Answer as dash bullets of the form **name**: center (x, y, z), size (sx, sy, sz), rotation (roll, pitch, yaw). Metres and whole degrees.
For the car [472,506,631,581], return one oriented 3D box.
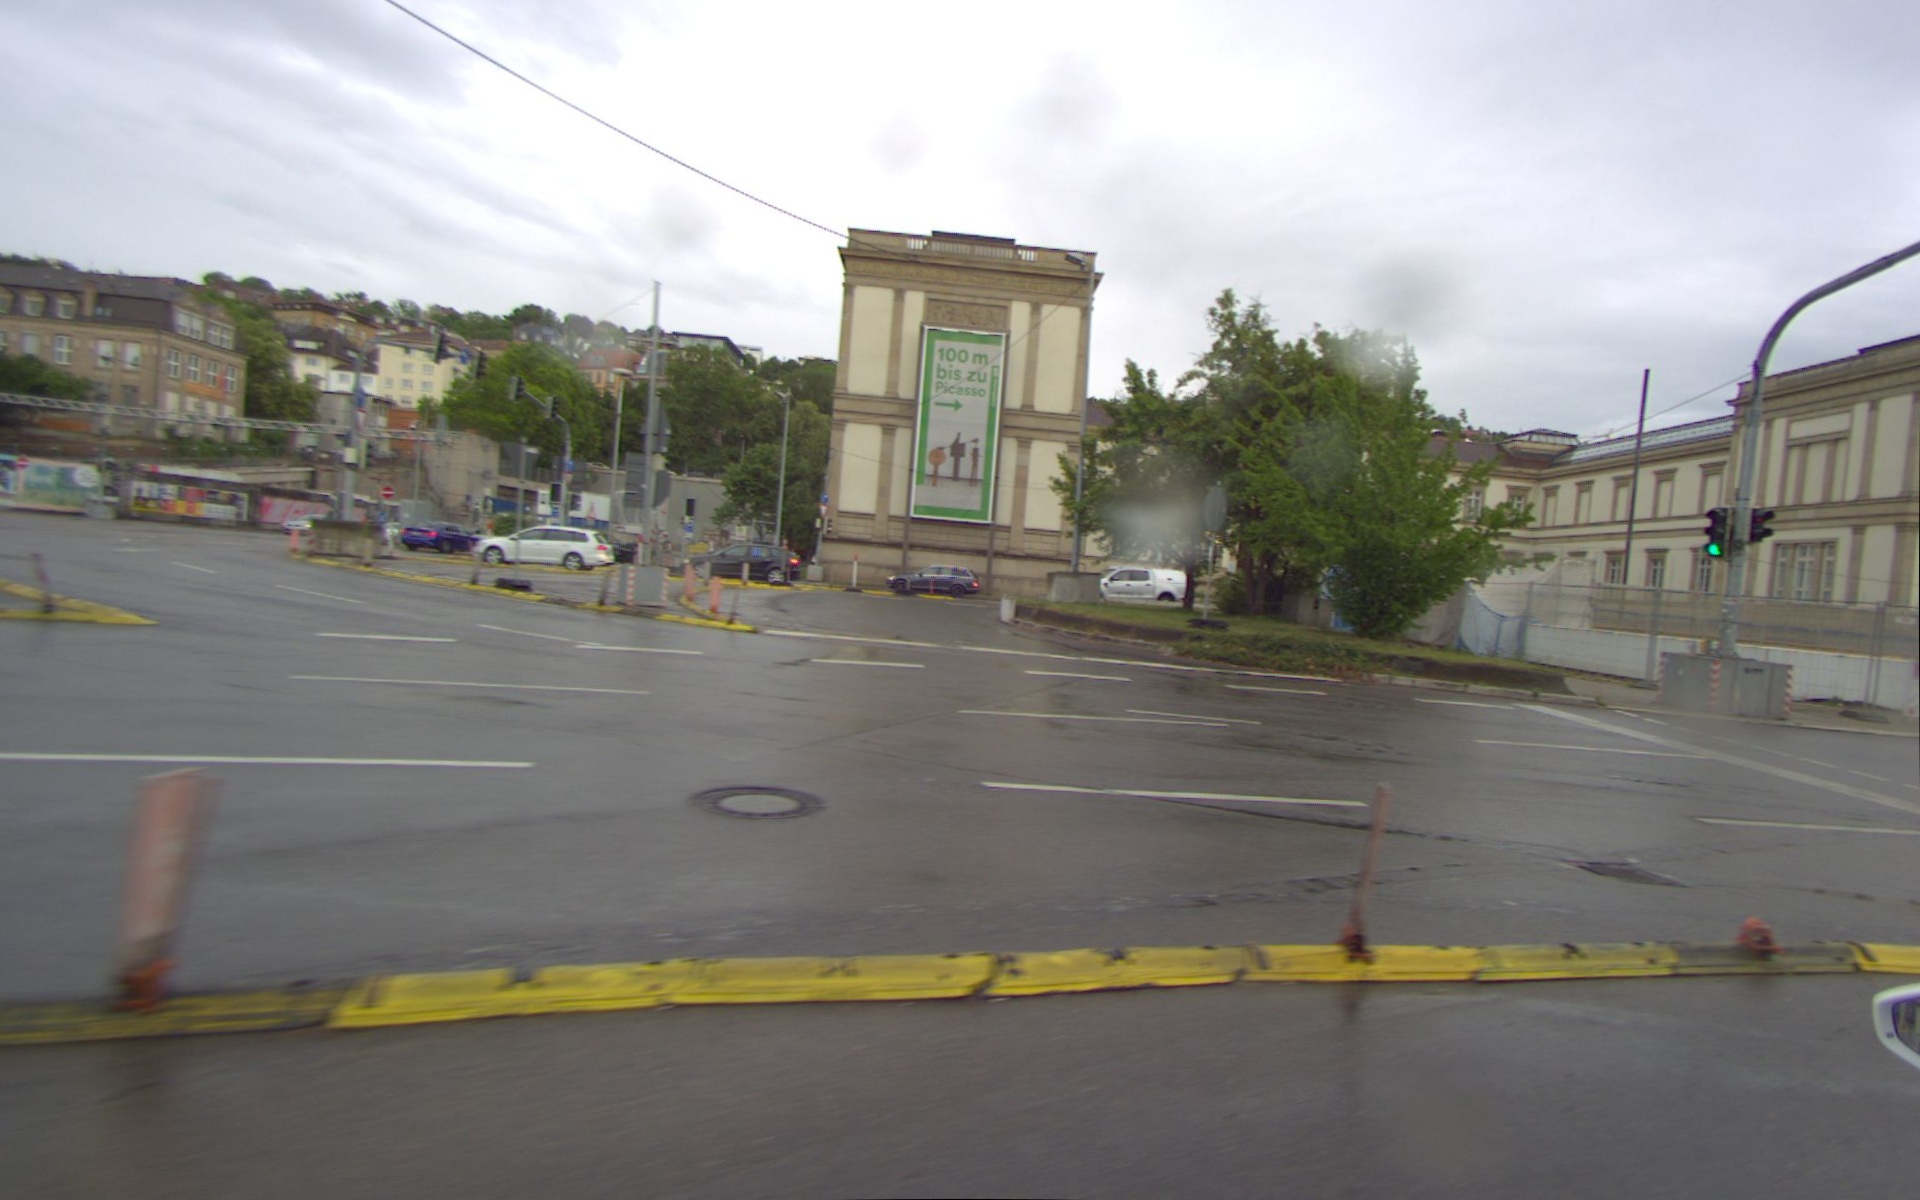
- **car**: center (-14.083, -1.952, 34.850), size (4.555, 2.040, 1.998), rotation (6, 3, -5)

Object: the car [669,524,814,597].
- **car**: center (-7.624, -1.419, 35.472), size (4.602, 2.040, 1.998), rotation (6, 3, -5)

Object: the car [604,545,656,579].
- **car**: center (-22.154, -2.576, 67.596), size (1.961, 2.040, 3.999), rotation (6, 4, 2)

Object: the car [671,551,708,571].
- **car**: center (-25.560, -3.725, 95.083), size (1.961, 1.655, 4.001), rotation (7, 3, 5)

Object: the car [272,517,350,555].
- **car**: center (-40.255, -3.940, 62.372), size (1.961, 2.040, 4.000), rotation (6, 3, 4)

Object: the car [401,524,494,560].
- **car**: center (-23.844, -2.706, 46.897), size (1.960, 1.458, 4.001), rotation (5, 3, 6)

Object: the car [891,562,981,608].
- **car**: center (-1.134, -0.728, 48.470), size (4.113, 1.723, 1.822), rotation (6, 3, 0)

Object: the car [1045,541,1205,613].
- **car**: center (6.473, -0.912, 39.550), size (5.593, 2.202, 2.362), rotation (5, 3, -17)

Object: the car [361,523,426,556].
- **car**: center (-39.660, -4.222, 70.438), size (1.961, 2.040, 4.000), rotation (6, 3, 4)
